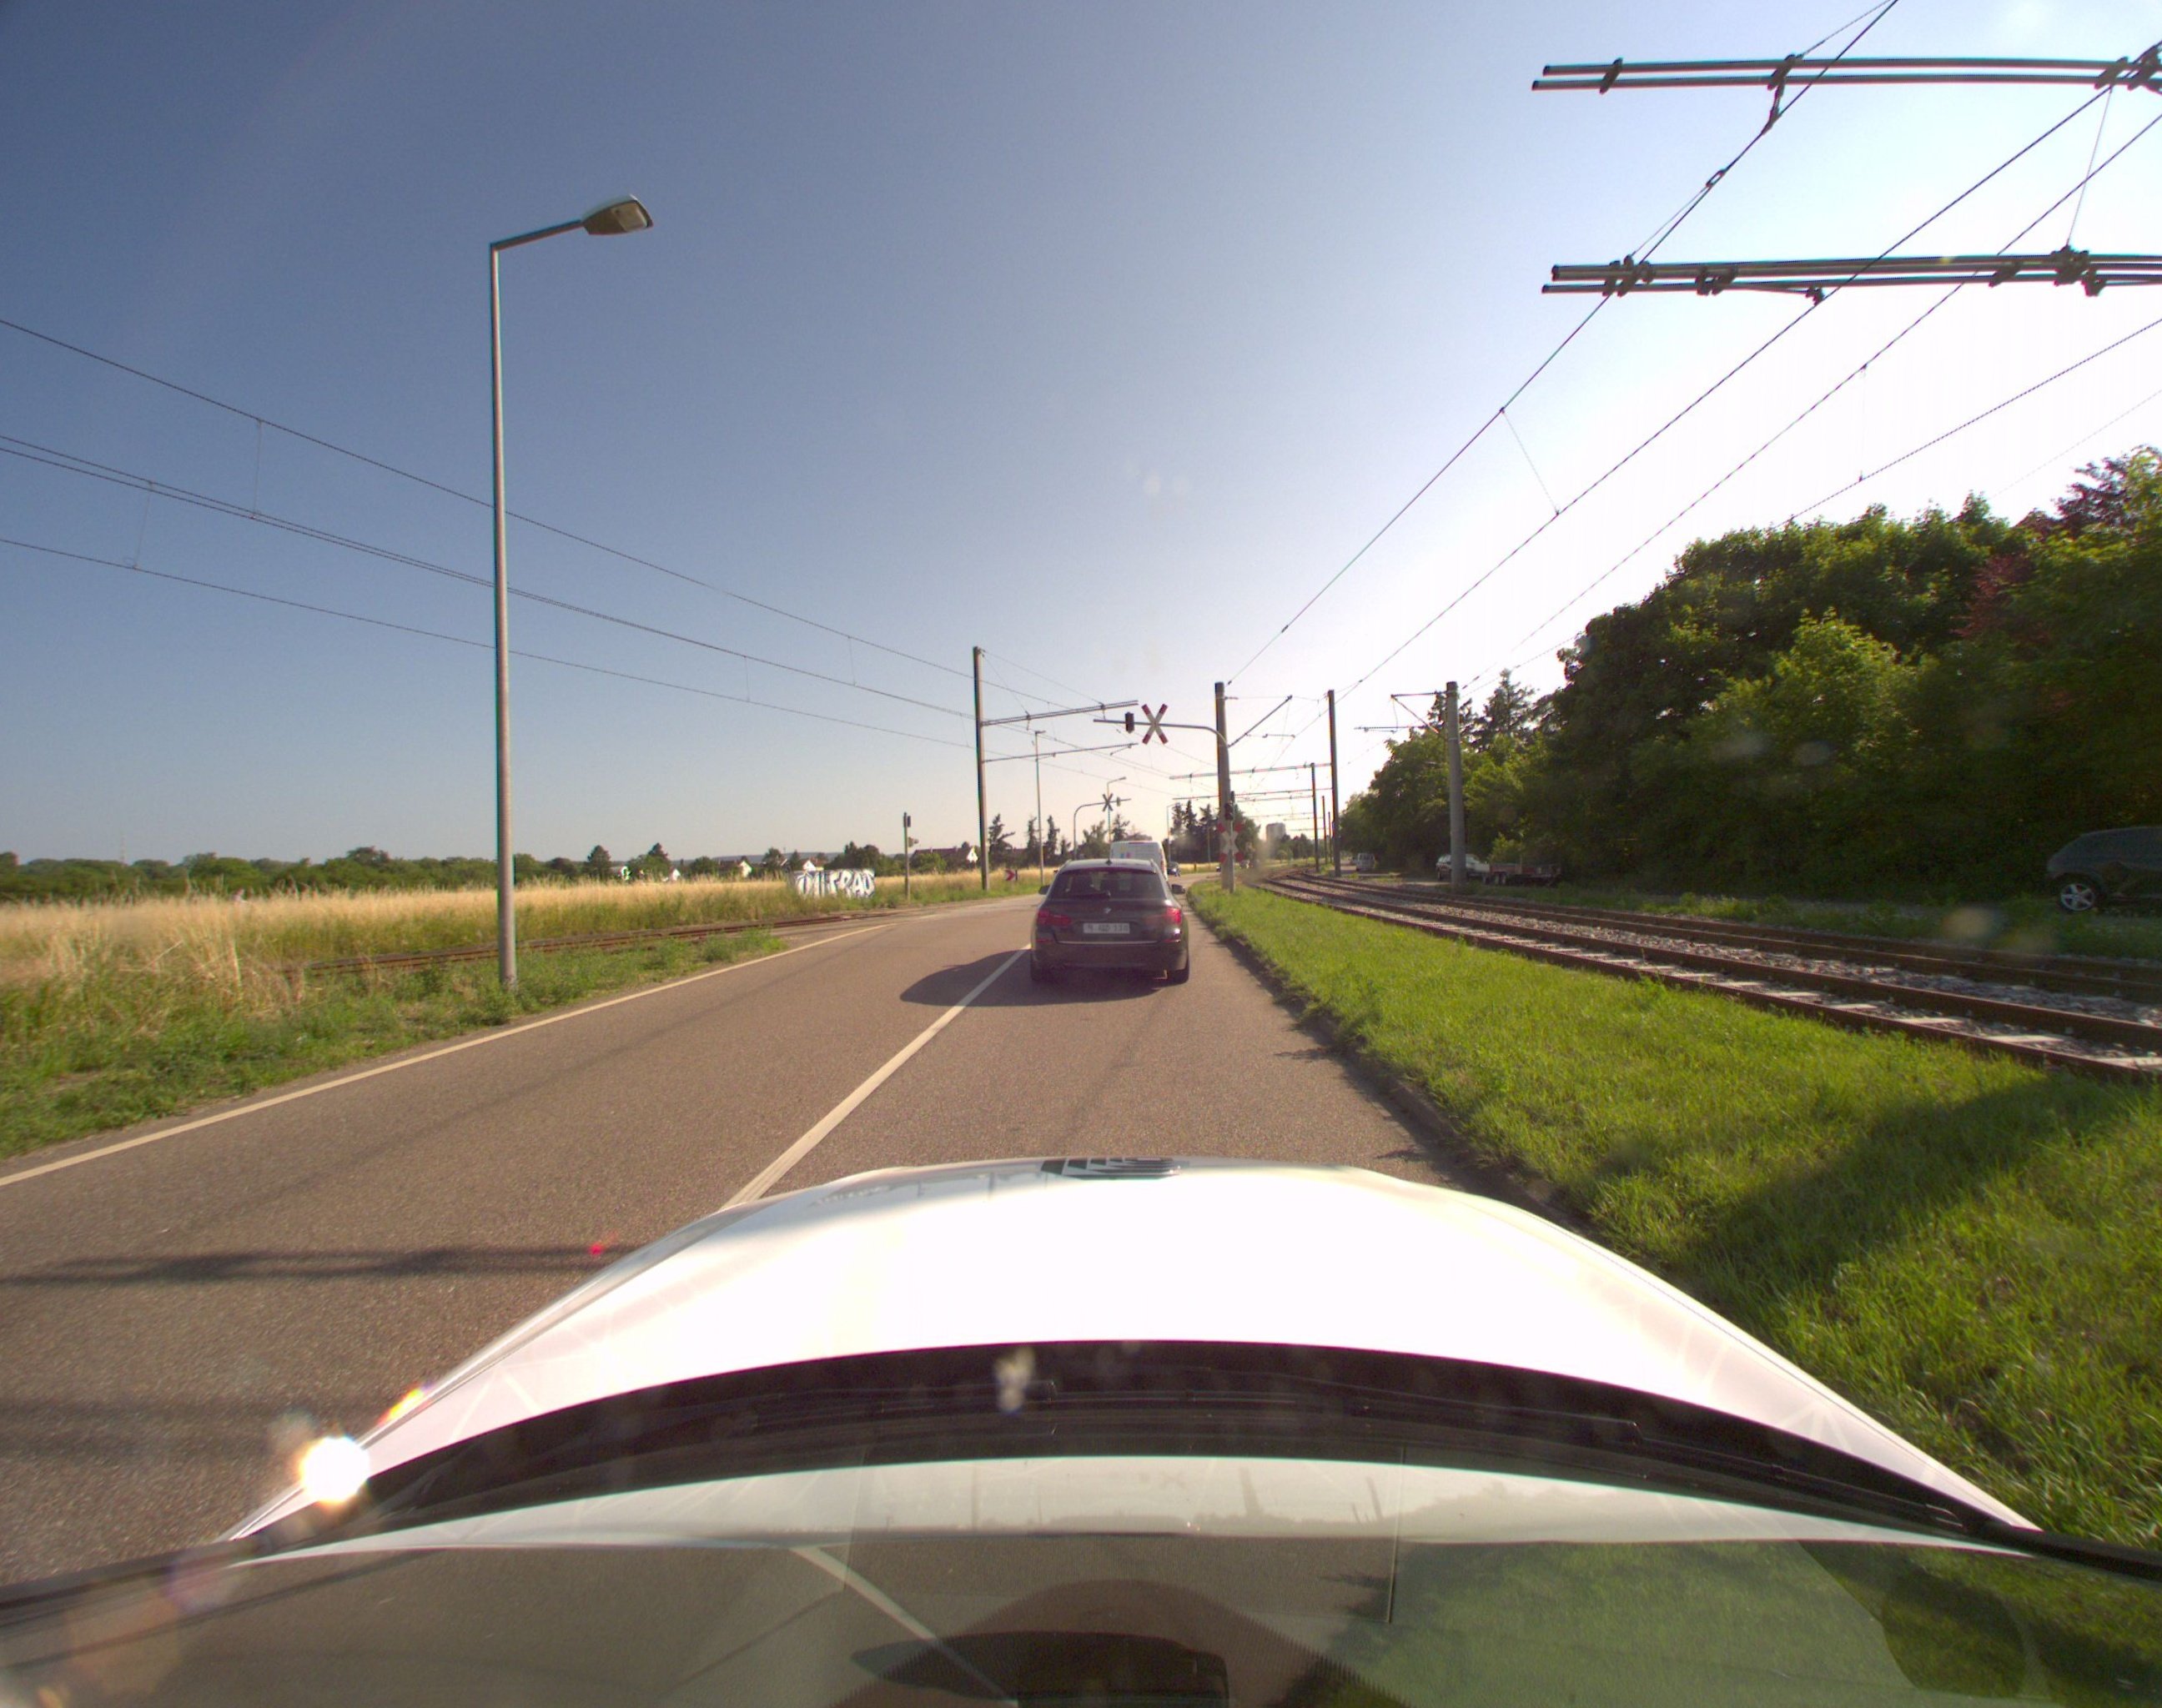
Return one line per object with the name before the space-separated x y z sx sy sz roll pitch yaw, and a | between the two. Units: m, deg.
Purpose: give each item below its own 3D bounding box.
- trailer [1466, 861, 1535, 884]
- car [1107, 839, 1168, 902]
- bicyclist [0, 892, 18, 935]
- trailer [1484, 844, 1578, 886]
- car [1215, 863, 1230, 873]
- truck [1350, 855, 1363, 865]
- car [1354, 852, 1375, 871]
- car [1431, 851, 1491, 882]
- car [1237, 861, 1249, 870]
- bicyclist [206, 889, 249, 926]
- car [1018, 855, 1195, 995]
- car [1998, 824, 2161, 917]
trailer | 19.177 0.820 37.397 1.721 0.939 3.737 1 0 9
car | 2.068 0.546 28.567 1.848 1.988 5.117 -1 -1 6
bicyclist | -31.055 1.714 23.217 0.597 1.205 0.794 -2 -1 24
trailer | 18.351 0.450 33.424 2.015 1.596 4.269 0 -1 8
car | 21.492 2.063 123.648 1.679 1.439 4.303 -1 -1 17
truck | 54.763 1.148 161.833 2.187 1.819 5.956 -2 -1 17
car | 31.285 0.797 89.833 1.978 2.004 5.089 1 0 17
car | 19.597 0.609 42.164 1.687 1.456 4.895 1 0 11
car | 30.203 2.089 151.706 1.693 1.665 4.610 -2 -1 17
bicyclist | -28.941 1.818 27.613 0.738 1.205 0.794 -2 -1 24
car | 0.360 0.758 11.046 1.862 1.452 4.746 -1 0 2
car | 17.218 0.247 12.317 1.617 1.410 4.521 -1 -1 0
